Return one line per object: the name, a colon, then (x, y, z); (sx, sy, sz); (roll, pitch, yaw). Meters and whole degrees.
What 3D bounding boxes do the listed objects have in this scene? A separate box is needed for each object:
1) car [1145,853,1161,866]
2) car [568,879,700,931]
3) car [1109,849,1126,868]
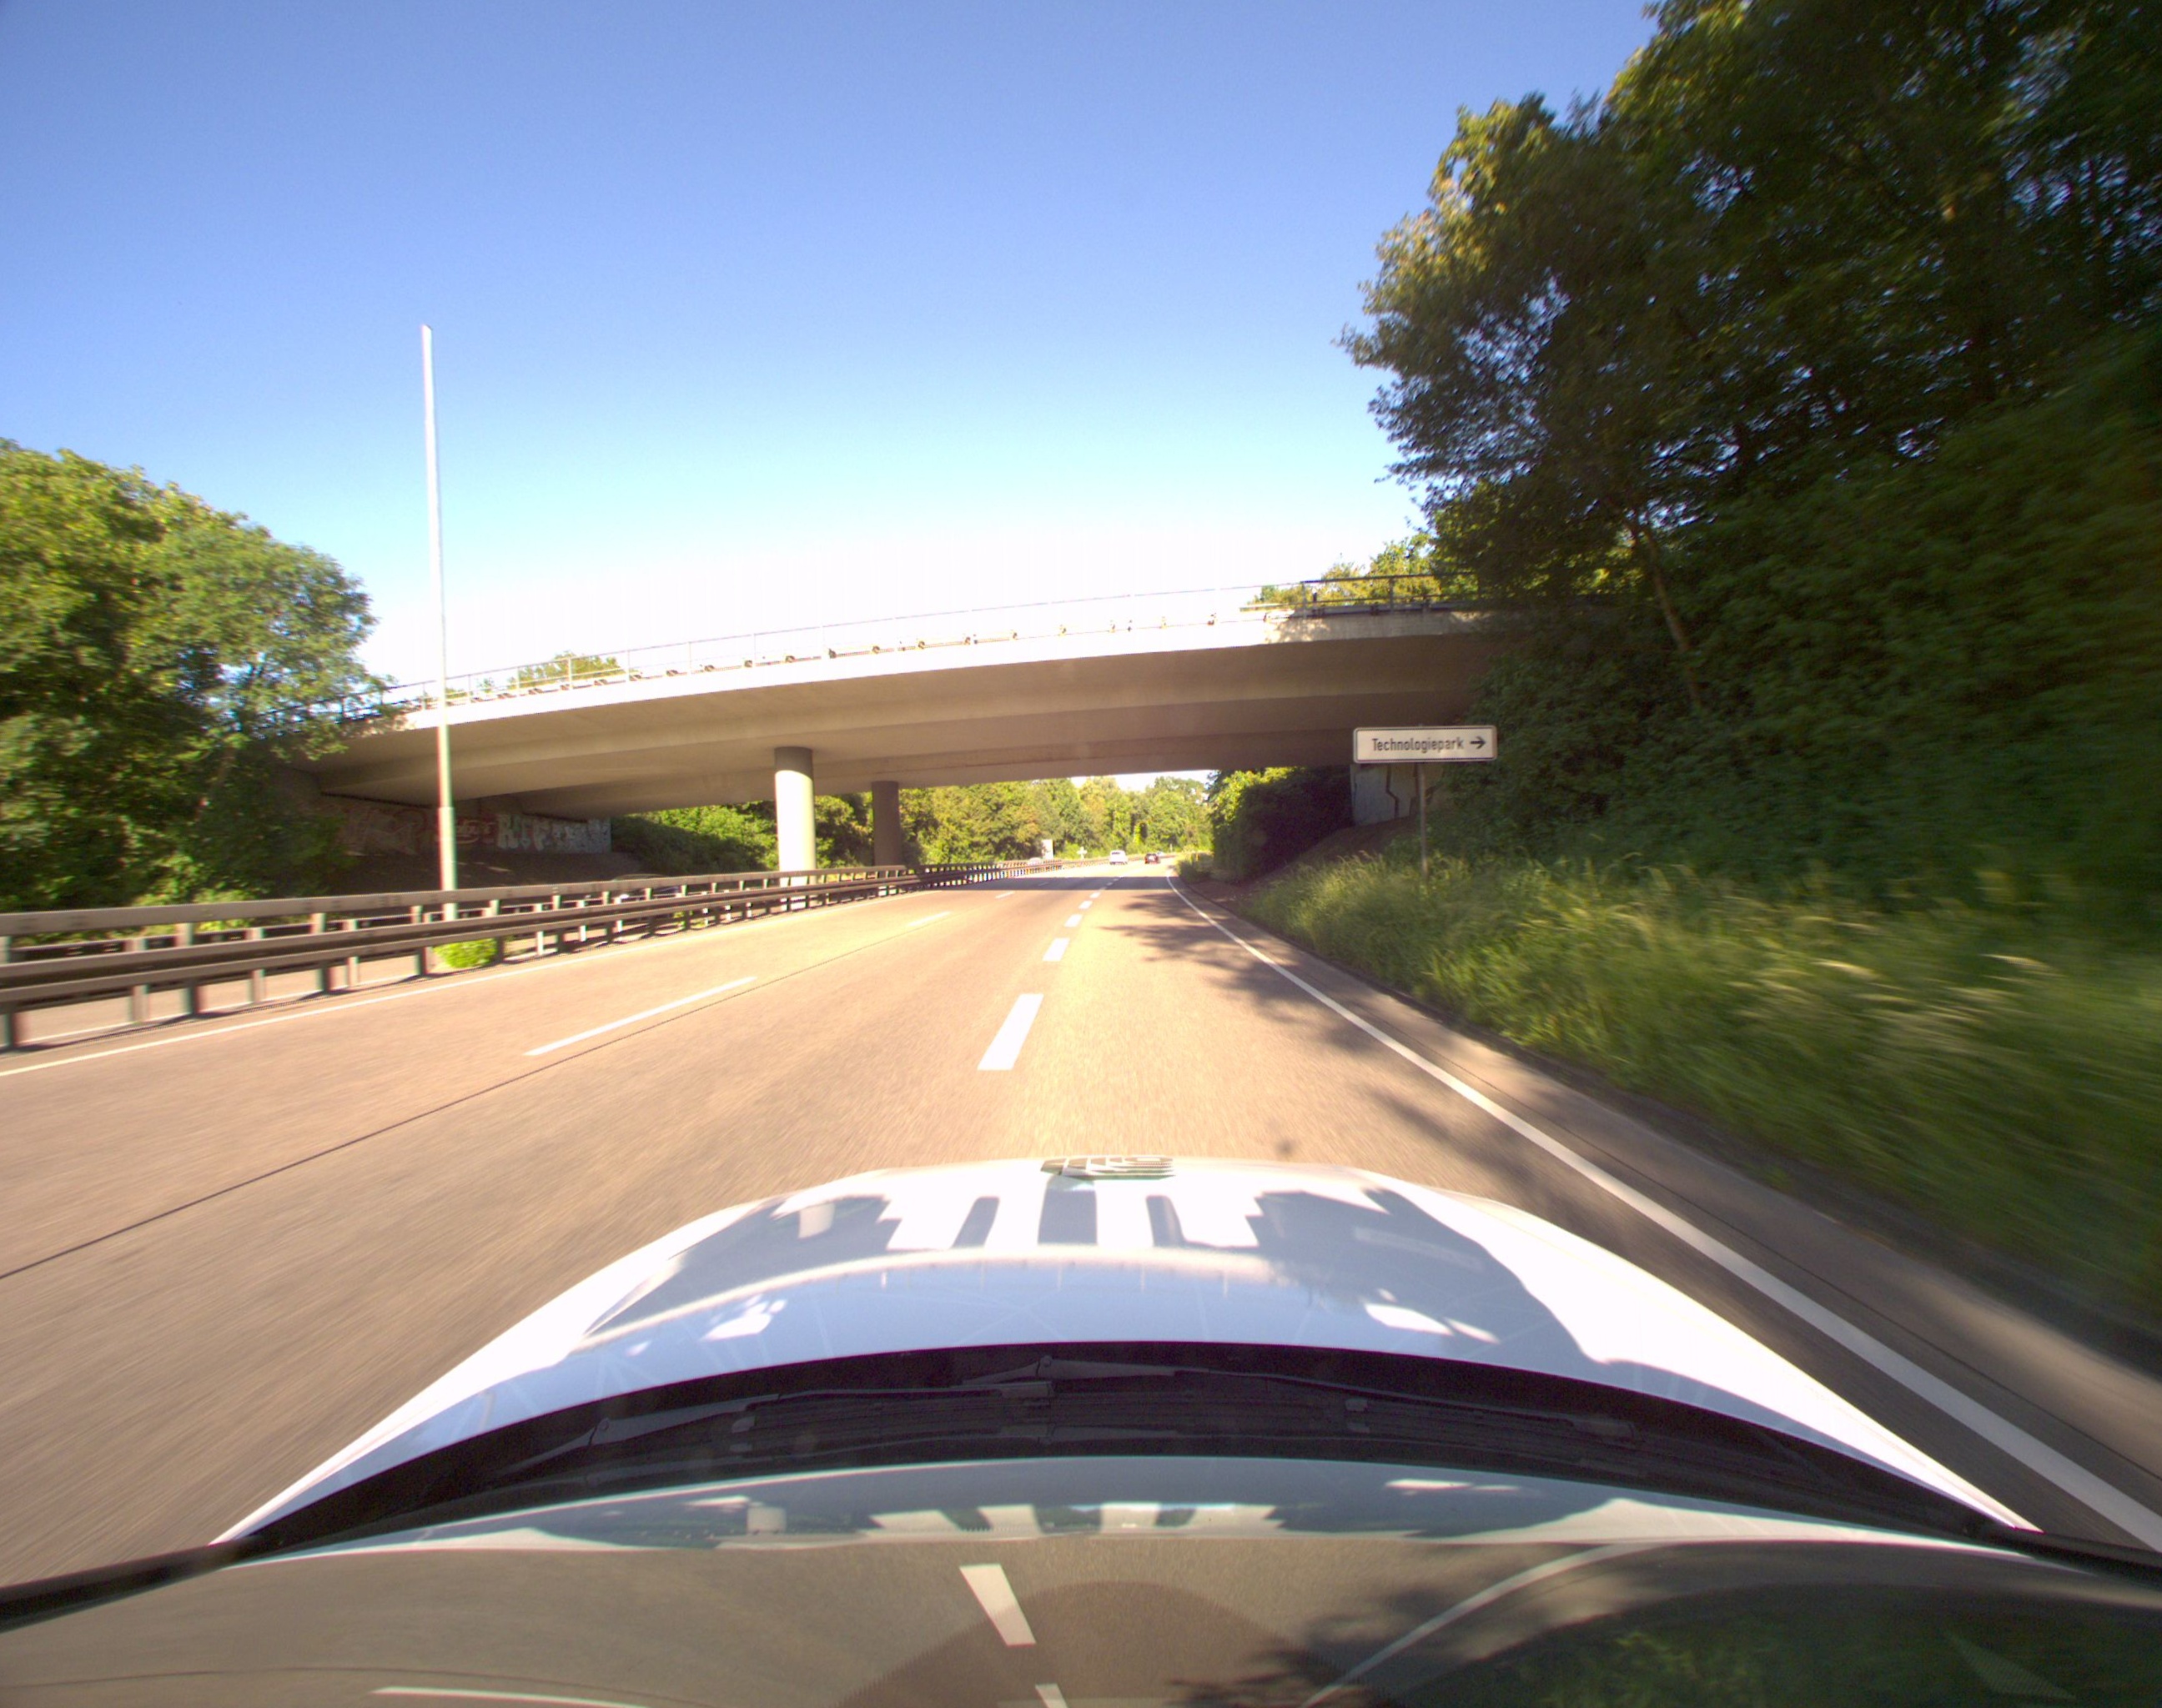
car: (9.585, 0.738, 108.779); (1.729, 1.662, 3.956); (-2, -1, 9)
car: (-16.670, 1.847, 30.740); (1.986, 1.596, 4.998); (-2, -1, 2)
car: (4.658, 0.534, 104.416); (1.985, 2.277, 4.004); (-2, -1, 4)
